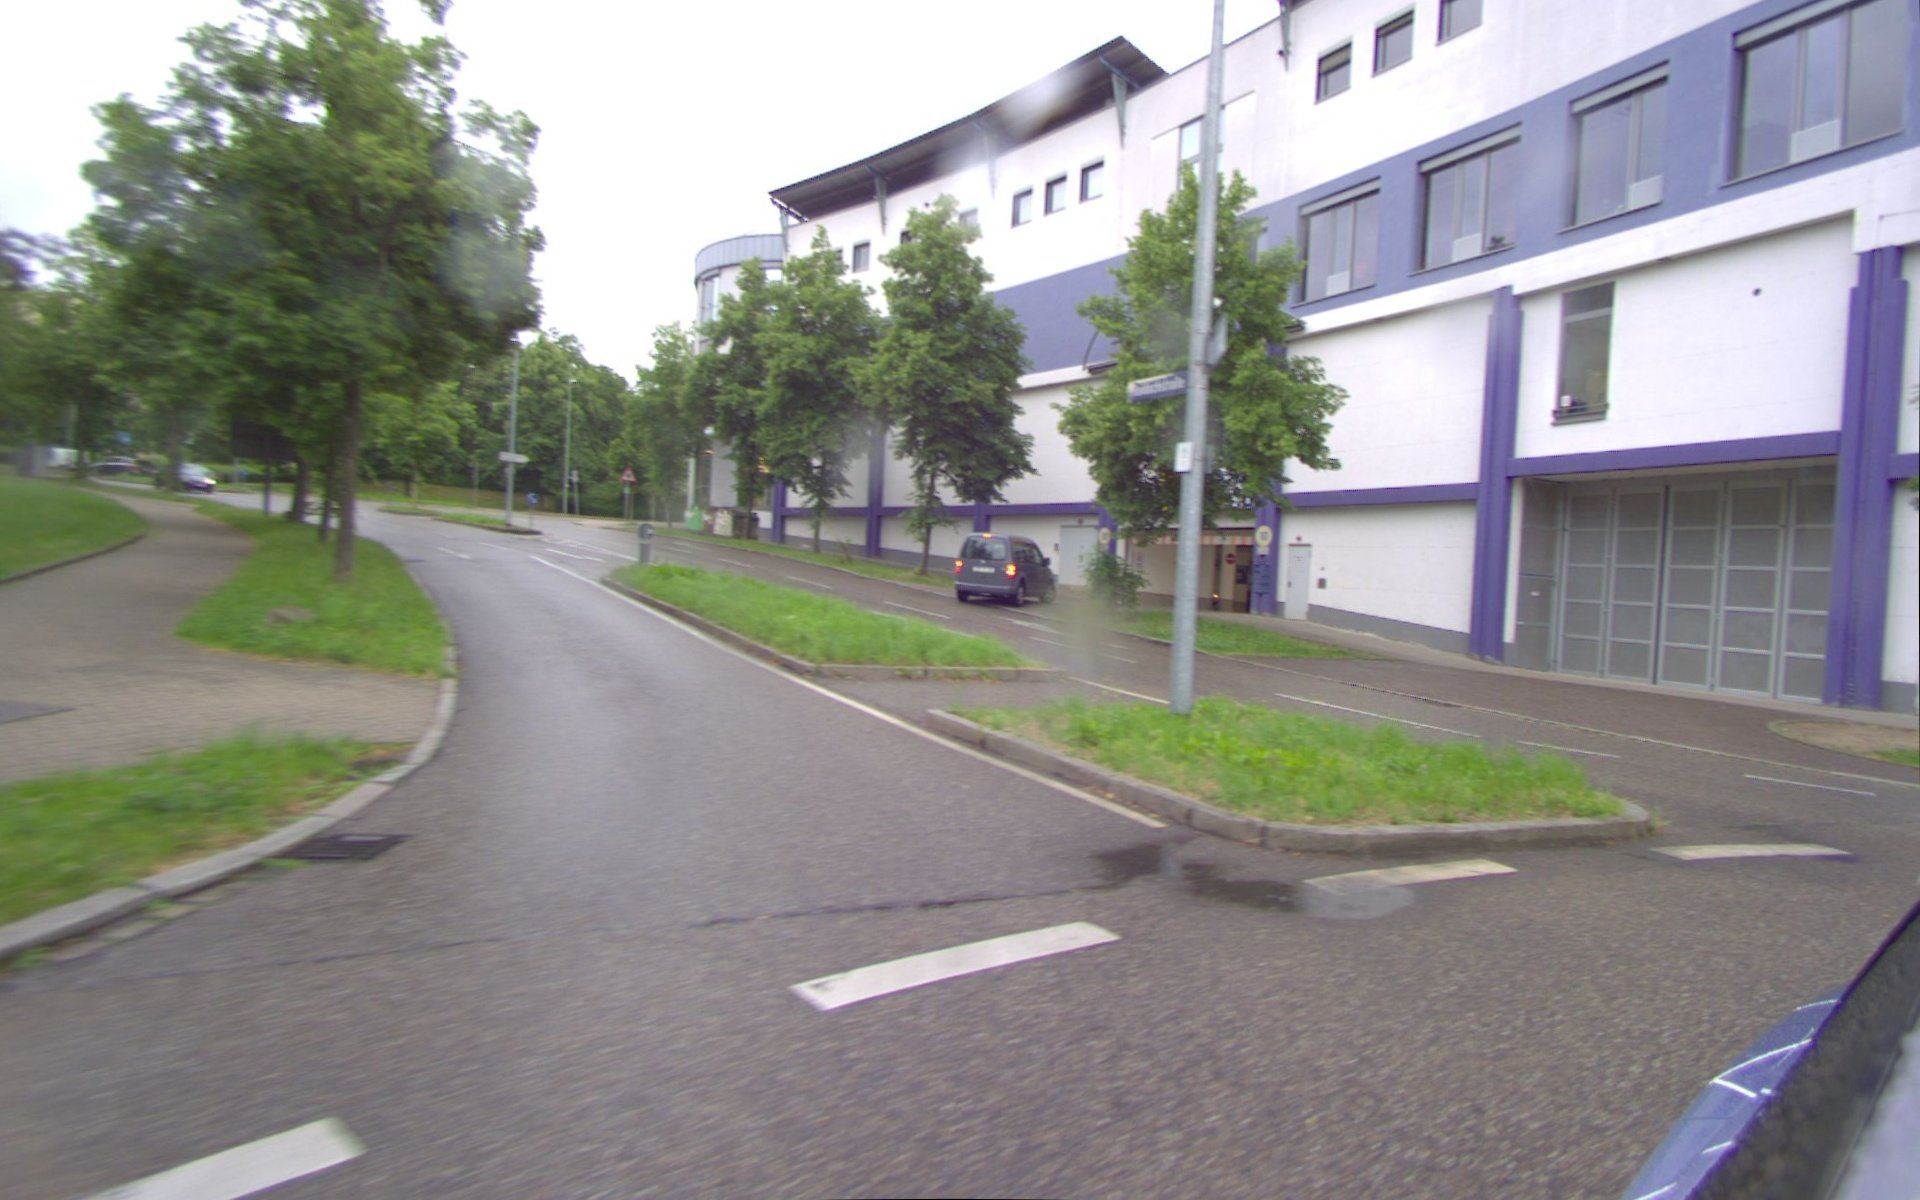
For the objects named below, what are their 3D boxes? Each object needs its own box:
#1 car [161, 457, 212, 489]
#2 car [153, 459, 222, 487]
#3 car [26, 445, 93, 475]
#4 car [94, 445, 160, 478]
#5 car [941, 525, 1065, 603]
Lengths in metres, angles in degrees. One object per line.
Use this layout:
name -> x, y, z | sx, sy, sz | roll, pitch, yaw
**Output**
car -> -42.328, -6.940, 55.335 | 3.589, 1.457, 1.603 | 9, 5, 43
car -> -52.036, -8.539, 68.177 | 3.953, 1.584, 1.874 | 4, 3, 21
car -> -66.437, -10.340, 74.692 | 3.948, 1.896, 1.989 | 4, 2, 18
car -> -60.597, -10.069, 73.645 | 3.810, 1.895, 1.843 | 7, 3, 16
car -> 1.222, -1.020, 27.097 | 1.906, 1.822, 3.757 | 5, 5, 26
